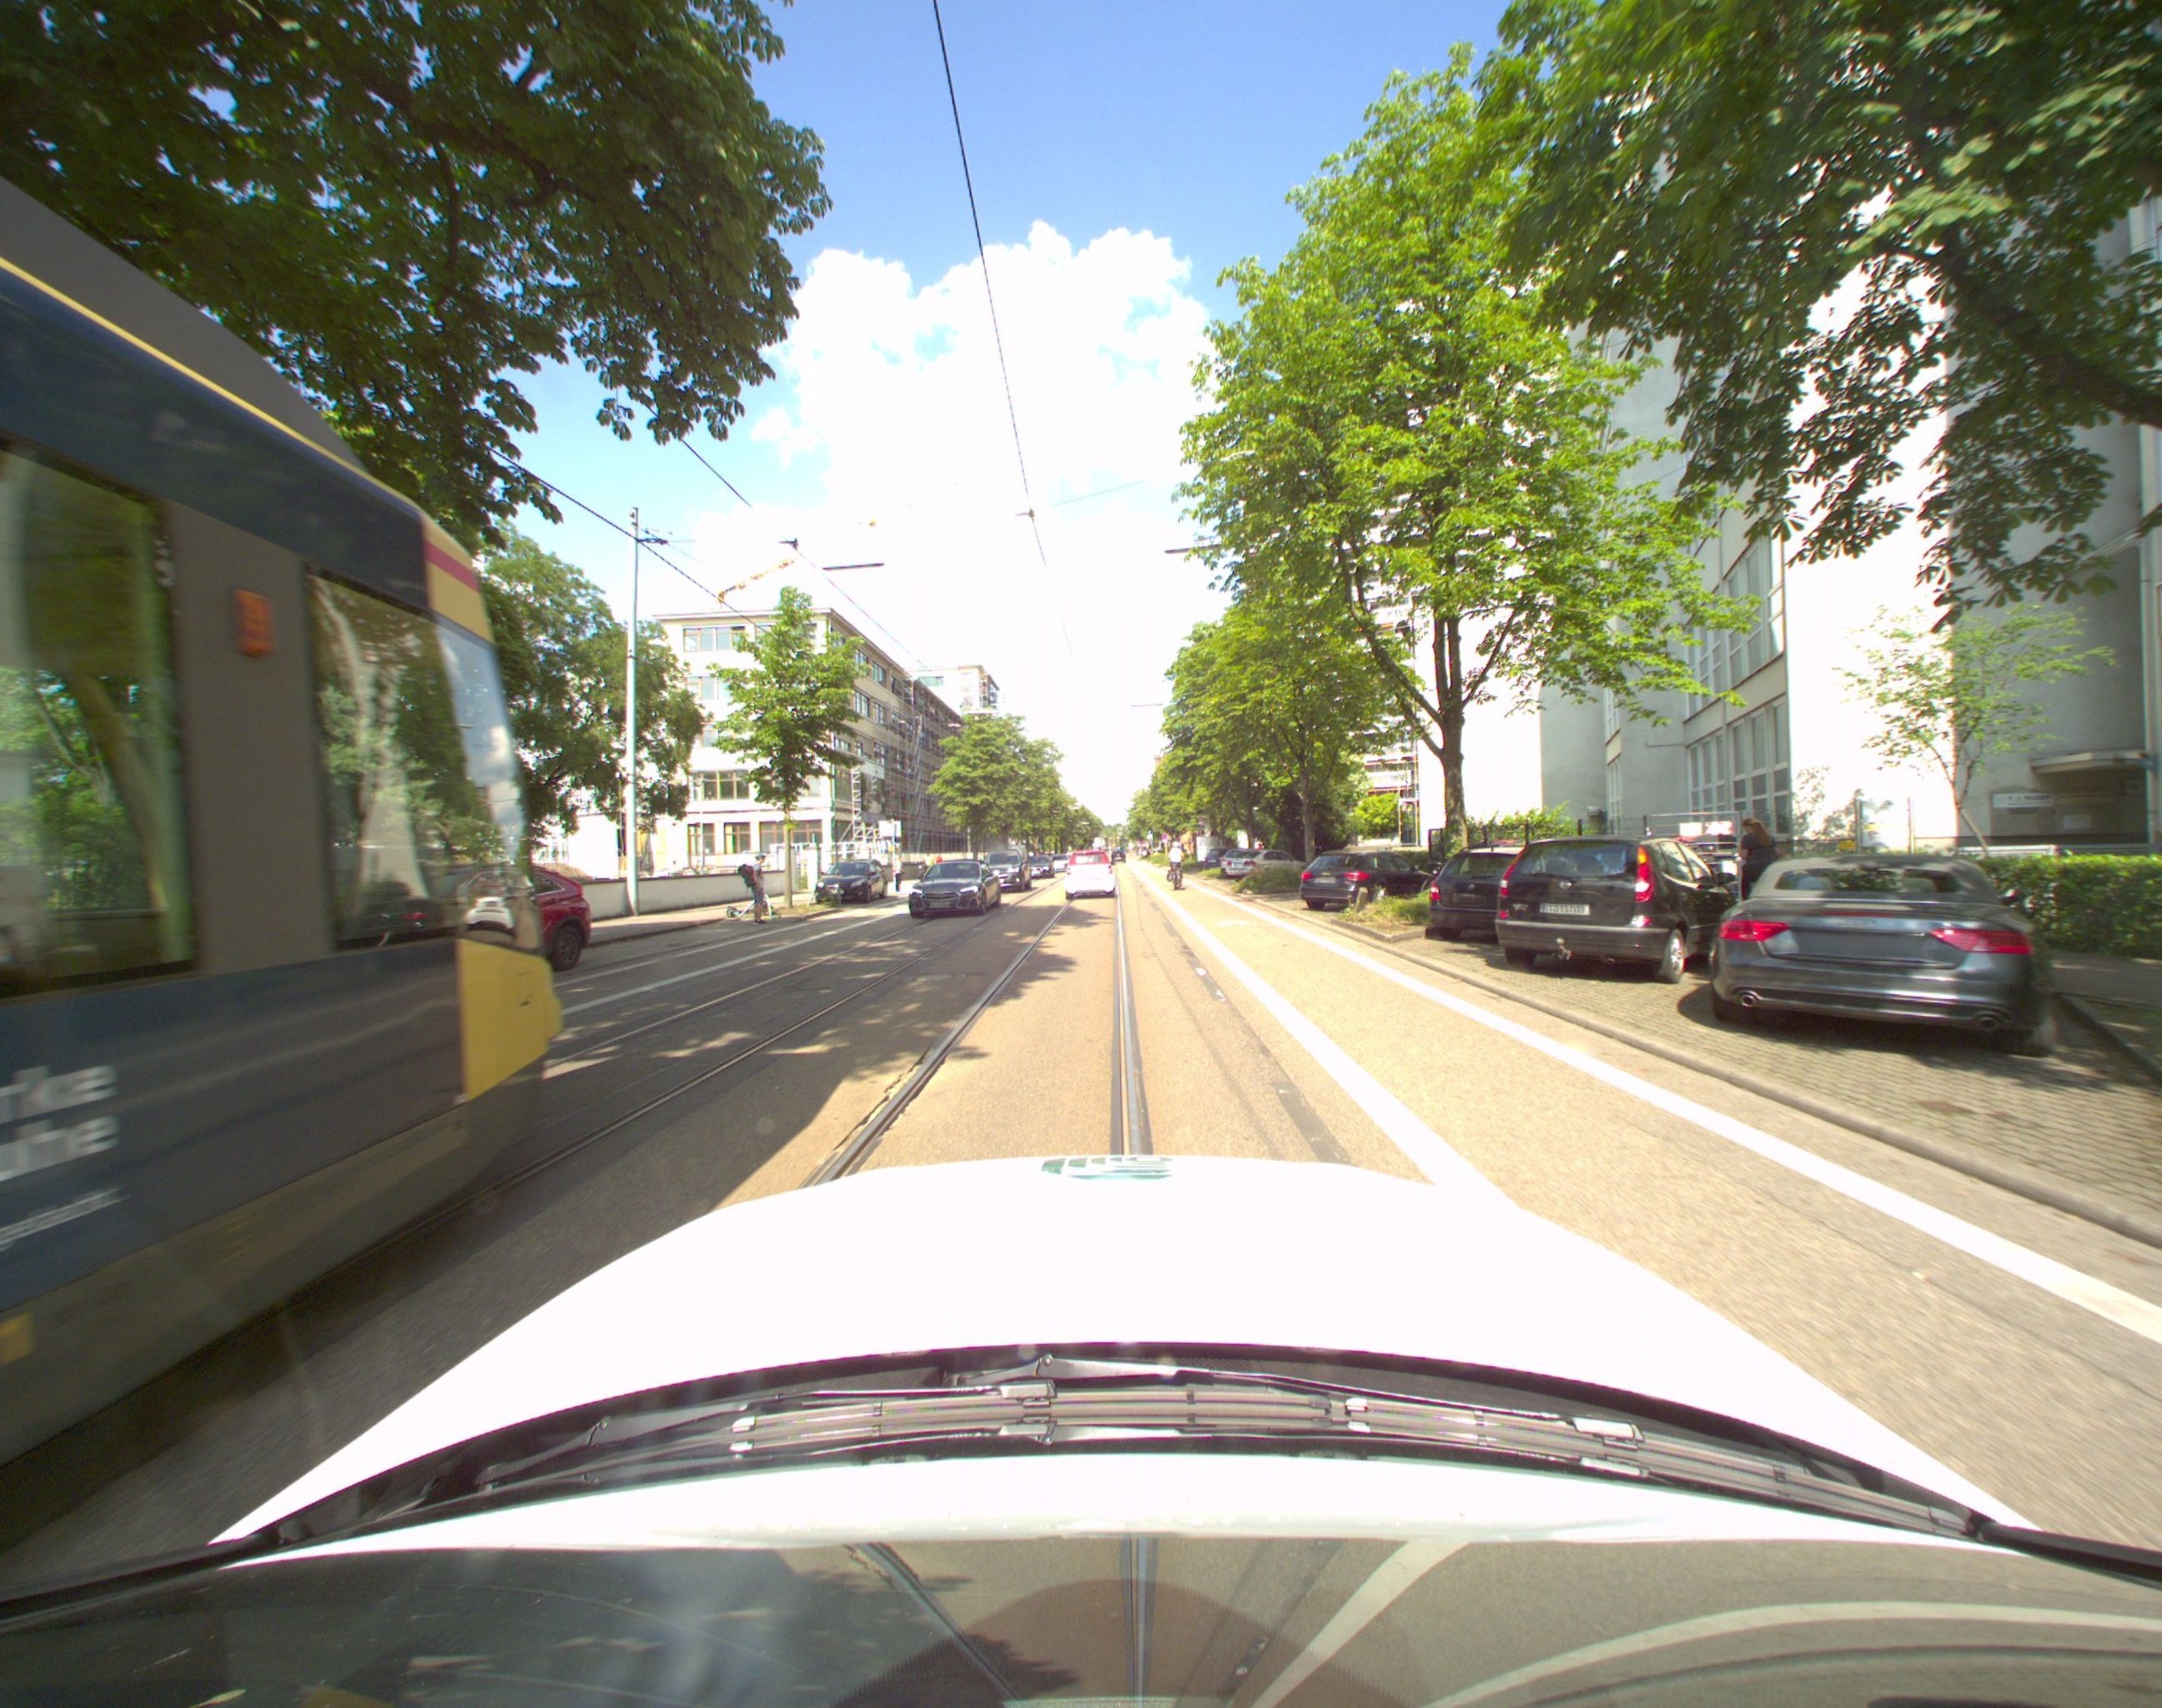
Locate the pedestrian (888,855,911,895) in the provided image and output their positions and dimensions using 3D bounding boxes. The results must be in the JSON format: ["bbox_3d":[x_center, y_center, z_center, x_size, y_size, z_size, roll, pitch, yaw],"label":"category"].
[{"bbox_3d":[-7.567,0.858,33.948,0.730,1.637,0.685,0,-1,-32],"label":"pedestrian"}]

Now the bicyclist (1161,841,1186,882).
[{"bbox_3d":[3.517,0.296,30.835,0.885,1.529,1.087,0,0,8],"label":"bicyclist"}]

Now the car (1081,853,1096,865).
[{"bbox_3d":[0.982,0.671,108.244,1.793,1.508,4.540,-1,0,3],"label":"car"}]

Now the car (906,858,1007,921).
[{"bbox_3d":[-3.174,0.859,21.584,1.792,1.388,4.428,-2,0,2],"label":"car"}]

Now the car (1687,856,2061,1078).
[{"bbox_3d":[6.985,0.712,7.192,4.199,1.349,1.882,0,0,-43],"label":"car"}]

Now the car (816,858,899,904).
[{"bbox_3d":[-7.937,0.923,29.319,1.744,1.516,4.590,0,0,-1],"label":"car"}]

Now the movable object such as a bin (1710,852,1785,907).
[{"bbox_3d":[14.582,0.549,17.850,1.021,1.090,0.936,-4,-1,27],"label":"movable object such as a bin"}]

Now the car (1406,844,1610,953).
[{"bbox_3d":[7.176,0.610,13.503,4.098,1.443,1.705,-2,2,-42],"label":"car"}]

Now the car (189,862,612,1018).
[{"bbox_3d":[-8.729,0.955,11.183,1.744,1.665,4.722,0,0,1],"label":"car"}]

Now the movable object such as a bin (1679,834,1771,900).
[{"bbox_3d":[15.202,0.287,19.290,1.362,1.447,1.271,-3,0,23],"label":"movable object such as a bin"}]

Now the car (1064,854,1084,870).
[{"bbox_3d":[-0.626,0.720,77.651,1.680,1.405,4.229,-2,0,3],"label":"car"}]

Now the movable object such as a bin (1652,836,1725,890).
[{"bbox_3d":[17.360,0.250,23.333,1.362,1.447,1.271,-3,0,23],"label":"movable object such as a bin"}]

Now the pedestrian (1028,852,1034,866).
[{"bbox_3d":[-7.579,0.742,123.242,0.802,2.013,0.484,-1,0,-7],"label":"pedestrian"}]

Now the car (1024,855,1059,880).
[{"bbox_3d":[-2.286,0.773,48.422,1.717,1.376,4.001,-3,0,1],"label":"car"}]

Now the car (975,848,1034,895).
[{"bbox_3d":[-2.952,0.657,32.345,1.819,1.727,4.392,0,0,1],"label":"car"}]

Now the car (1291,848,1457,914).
[{"bbox_3d":[7.311,0.604,20.077,4.562,1.442,2.007,1,-1,-43],"label":"car"}]

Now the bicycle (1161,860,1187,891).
[{"bbox_3d":[3.531,0.792,30.779,0.870,1.126,2.141,0,0,8],"label":"bicycle"}]

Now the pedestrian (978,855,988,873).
[{"bbox_3d":[-9.226,0.950,76.640,0.761,1.620,0.594,0,-1,2],"label":"pedestrian"}]

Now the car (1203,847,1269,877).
[{"bbox_3d":[8.851,0.442,46.439,4.023,1.486,1.596,-3,0,-44],"label":"car"}]

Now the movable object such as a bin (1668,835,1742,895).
[{"bbox_3d":[15.796,0.282,20.673,1.194,1.456,1.461,-1,-1,25],"label":"movable object such as a bin"}]

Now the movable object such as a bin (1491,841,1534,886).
[{"bbox_3d":[14.626,0.307,27.585,1.252,1.480,0.943,0,1,29],"label":"movable object such as a bin"}]

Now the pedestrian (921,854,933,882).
[{"bbox_3d":[-10.121,0.924,53.504,0.706,1.793,0.661,0,-1,-3],"label":"pedestrian"}]

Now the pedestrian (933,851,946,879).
[{"bbox_3d":[-9.323,0.722,53.572,0.706,1.831,0.661,2,1,-3],"label":"pedestrian"}]

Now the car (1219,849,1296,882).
[{"bbox_3d":[8.647,0.531,39.724,3.824,1.474,1.634,-1,1,-39],"label":"car"}]

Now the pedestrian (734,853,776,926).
[{"bbox_3d":[-8.064,0.872,20.186,0.749,1.766,0.790,0,-1,-3],"label":"pedestrian"}]

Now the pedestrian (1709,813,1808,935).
[{"bbox_3d":[10.828,0.307,13.057,0.756,1.873,1.004,-2,0,8],"label":"pedestrian"}]

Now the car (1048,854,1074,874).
[{"bbox_3d":[-1.543,0.780,63.991,1.767,1.416,3.853,-4,0,2],"label":"car"}]

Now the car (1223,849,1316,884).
[{"bbox_3d":[8.520,0.533,36.613,4.262,1.420,1.705,-1,1,-36],"label":"car"}]

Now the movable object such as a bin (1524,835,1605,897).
[{"bbox_3d":[12.704,0.309,21.466,1.270,1.539,1.470,-1,0,2],"label":"movable object such as a bin"}]

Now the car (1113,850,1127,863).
[{"bbox_3d":[4.781,0.292,101.026,1.659,1.624,3.622,-2,0,2],"label":"car"}]

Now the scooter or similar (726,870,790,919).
[{"bbox_3d":[-8.632,1.076,21.807,1.334,1.279,0.855,0,0,0],"label":"scooter or similar"}]

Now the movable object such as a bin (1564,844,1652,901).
[{"bbox_3d":[12.766,0.433,19.782,1.270,1.318,1.326,-1,0,2],"label":"movable object such as a bin"}]

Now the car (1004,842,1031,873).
[{"bbox_3d":[-5.725,0.311,74.016,1.762,2.639,5.325,-3,0,2],"label":"car"}]

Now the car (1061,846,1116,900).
[{"bbox_3d":[0.284,0.577,26.861,1.659,1.624,3.622,-1,0,2],"label":"car"}]

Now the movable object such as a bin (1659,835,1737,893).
[{"bbox_3d":[16.591,0.267,21.953,1.362,1.447,1.271,-3,0,23],"label":"movable object such as a bin"}]

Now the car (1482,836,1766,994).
[{"bbox_3d":[6.854,0.602,10.136,4.020,1.574,1.883,0,0,-40],"label":"car"}]

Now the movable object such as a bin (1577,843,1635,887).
[{"bbox_3d":[16.907,0.348,26.267,1.200,1.338,1.269,-3,0,17],"label":"movable object such as a bin"}]
